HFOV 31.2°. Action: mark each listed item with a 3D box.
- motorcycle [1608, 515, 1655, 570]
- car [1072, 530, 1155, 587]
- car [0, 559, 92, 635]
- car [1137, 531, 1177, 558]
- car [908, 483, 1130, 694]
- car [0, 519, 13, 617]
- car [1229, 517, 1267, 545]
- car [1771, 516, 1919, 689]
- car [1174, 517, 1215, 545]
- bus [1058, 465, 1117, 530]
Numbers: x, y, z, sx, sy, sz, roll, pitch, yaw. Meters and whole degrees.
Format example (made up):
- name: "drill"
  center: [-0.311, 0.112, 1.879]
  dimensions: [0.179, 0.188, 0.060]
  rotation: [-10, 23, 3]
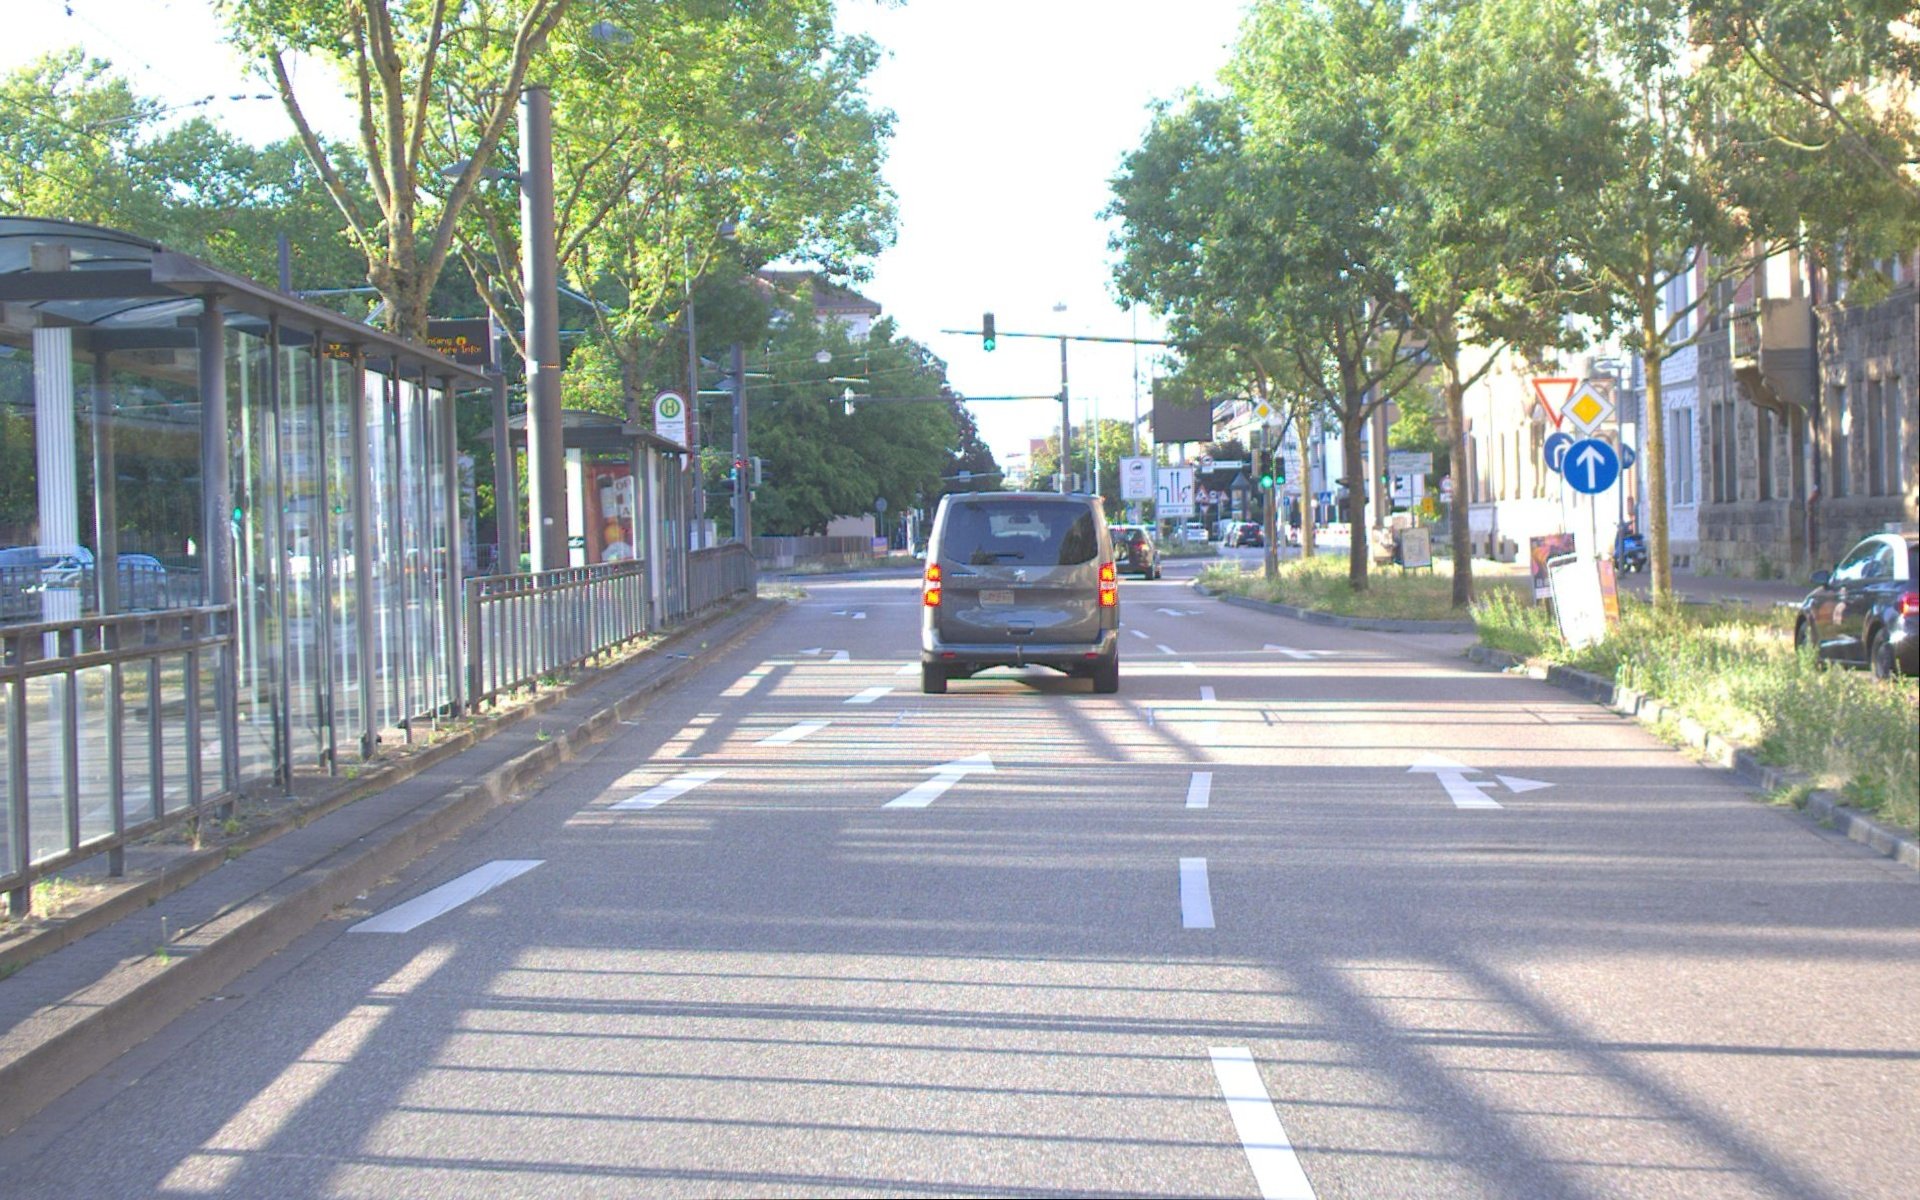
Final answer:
- name: "motorcycle"
  center: [14.988, -1.275, 76.749]
  dimensions: [0.553, 1.210, 2.073]
  rotation: [0, 1, -2]
- name: "car"
  center: [4.092, -1.132, 92.353]
  dimensions: [1.993, 1.505, 4.000]
  rotation: [0, 1, -1]
- name: "car"
  center: [-18.349, -0.085, 67.086]
  dimensions: [1.794, 1.410, 4.341]
  rotation: [0, 1, -1]
- name: "car"
  center: [12.245, -3.457, 214.298]
  dimensions: [1.993, 1.651, 4.300]
  rotation: [-2, 1, -3]
- name: "car"
  center: [0.534, -0.144, 33.354]
  dimensions: [1.993, 1.894, 4.299]
  rotation: [1, 1, 0]
- name: "car"
  center: [-17.094, -0.497, 56.692]
  dimensions: [1.859, 1.648, 4.000]
  rotation: [-1, 1, -1]
- name: "car"
  center: [17.562, -4.215, 209.995]
  dimensions: [1.993, 1.651, 4.299]
  rotation: [-1, 1, 1]
- name: "car"
  center: [8.677, -0.008, 30.923]
  dimensions: [1.704, 1.443, 4.289]
  rotation: [2, 1, 0]
- name: "car"
  center: [14.611, -4.308, 214.656]
  dimensions: [1.993, 1.651, 4.300]
  rotation: [-2, 1, -3]
- name: "bus"
  center: [9.271, -7.443, 251.040]
  dimensions: [3.289, 4.601, 10.002]
  rotation: [0, 1, -4]
